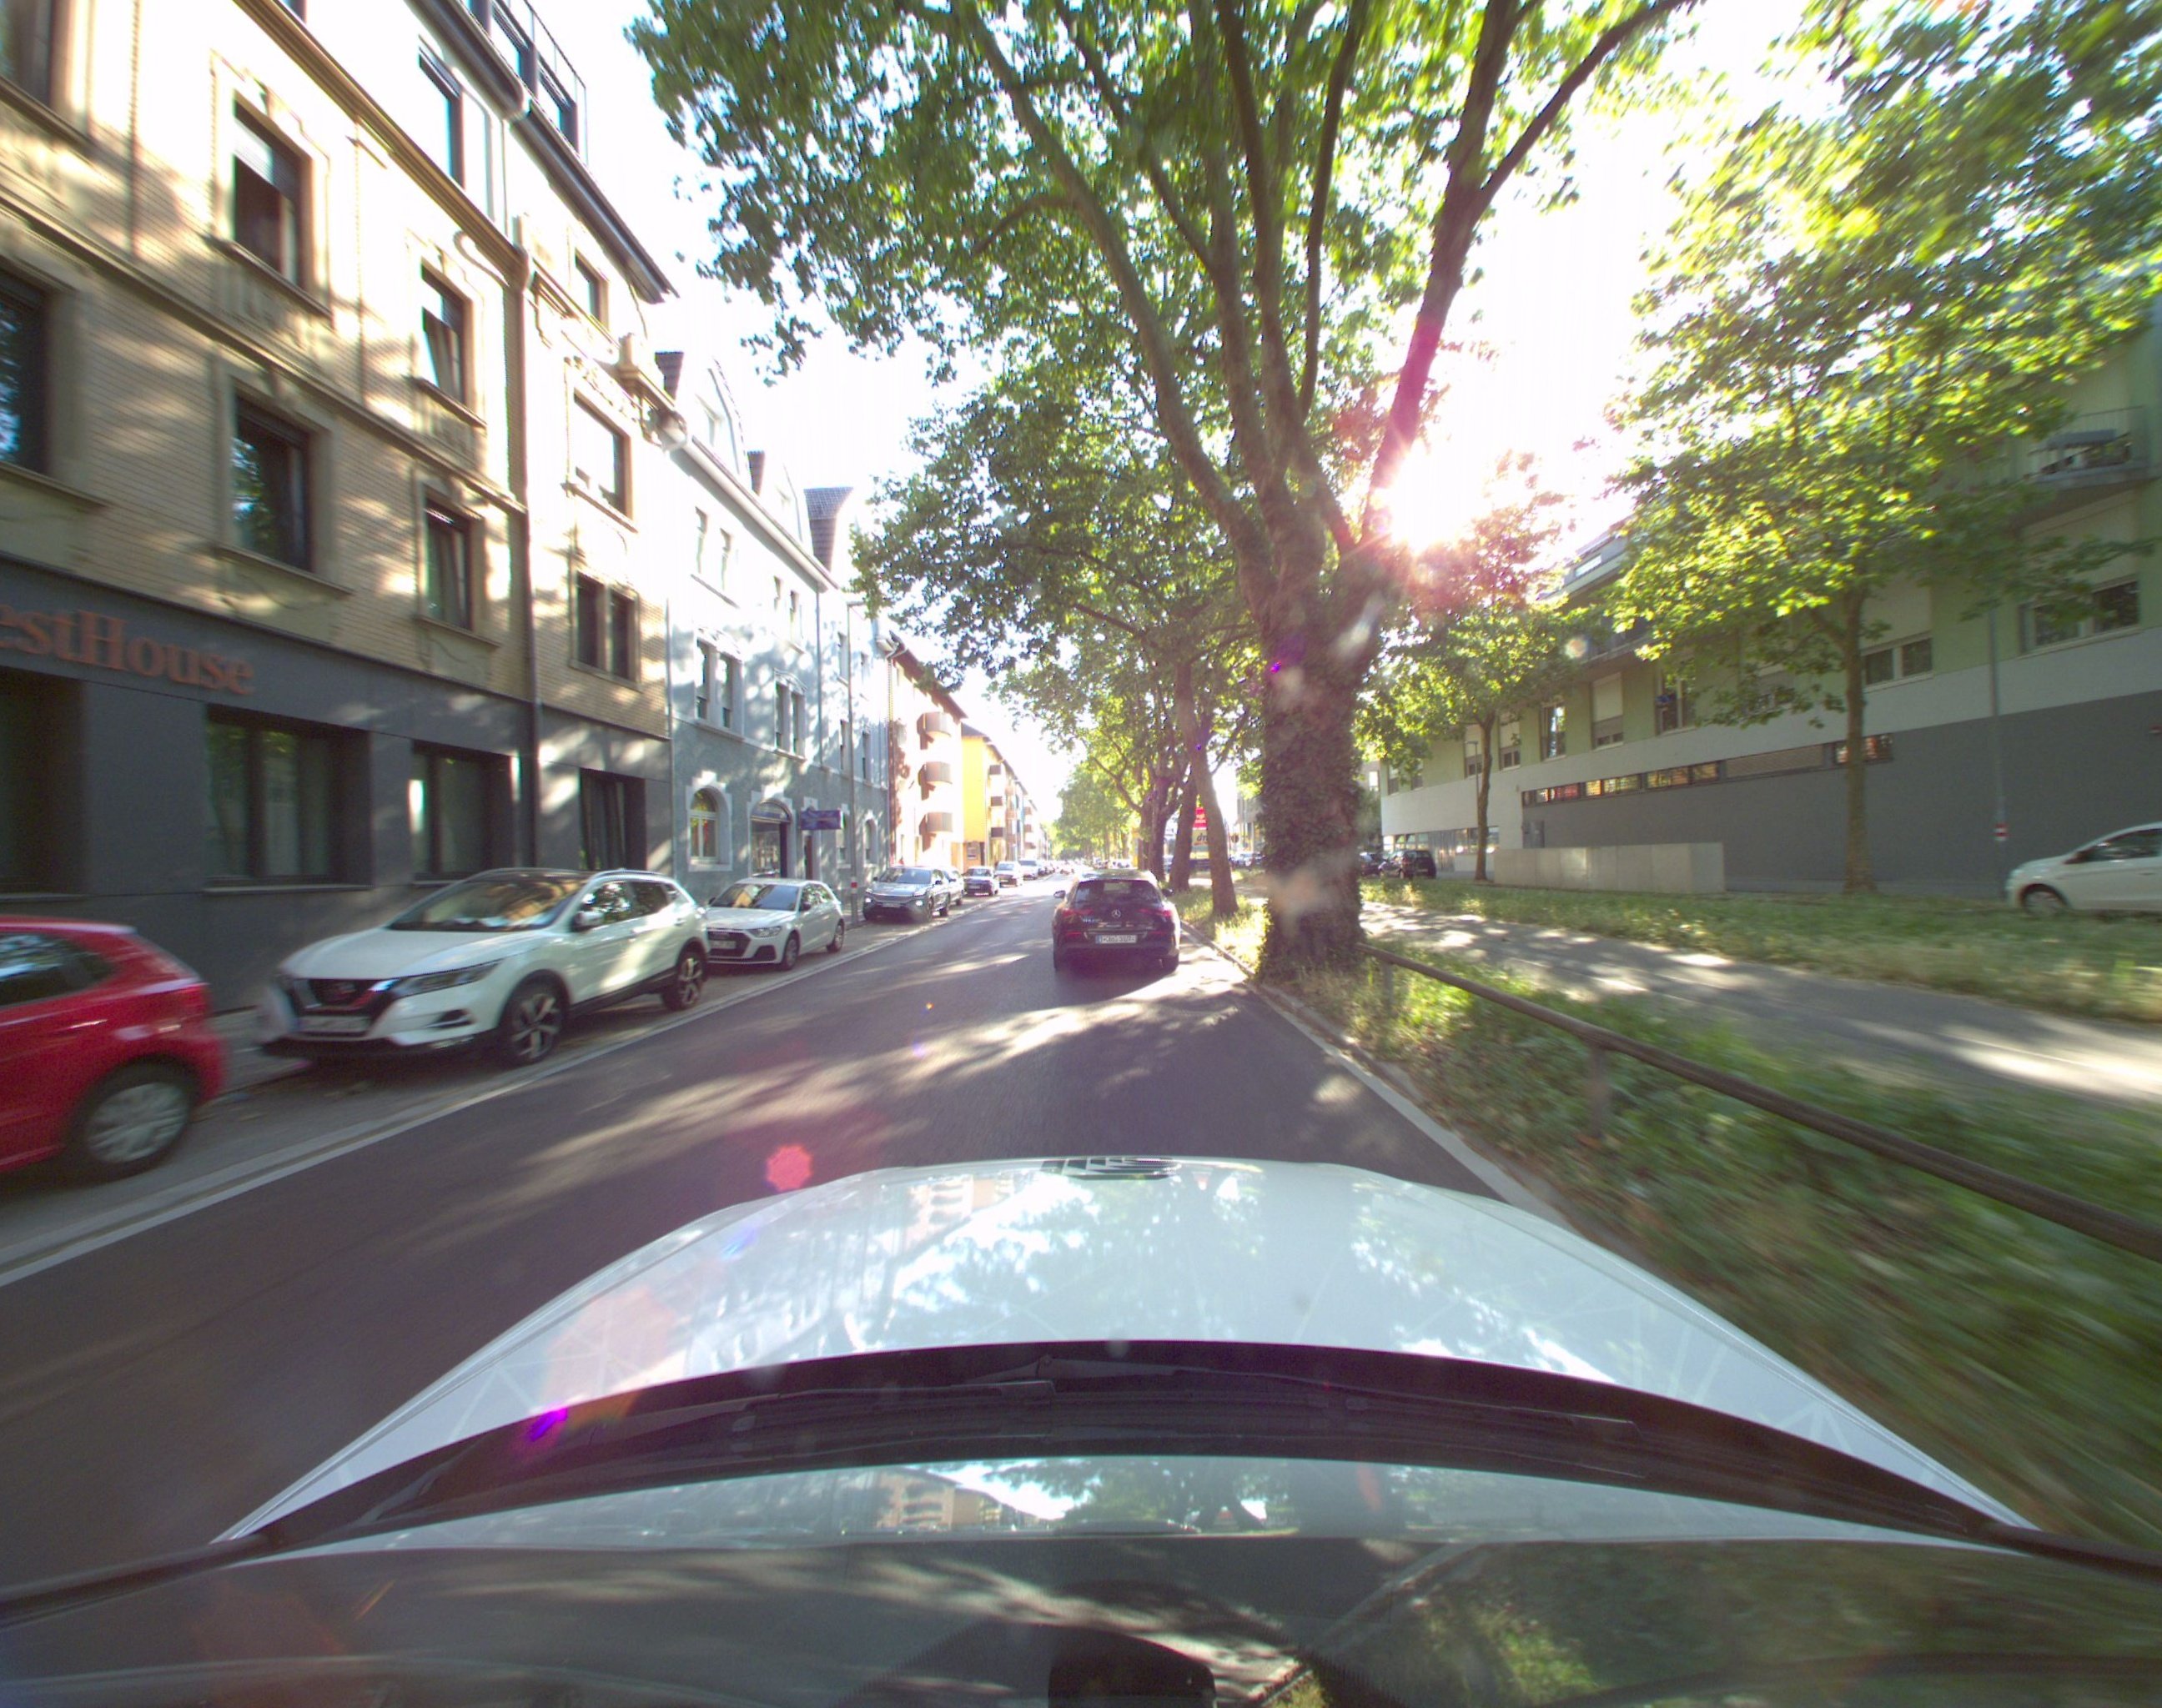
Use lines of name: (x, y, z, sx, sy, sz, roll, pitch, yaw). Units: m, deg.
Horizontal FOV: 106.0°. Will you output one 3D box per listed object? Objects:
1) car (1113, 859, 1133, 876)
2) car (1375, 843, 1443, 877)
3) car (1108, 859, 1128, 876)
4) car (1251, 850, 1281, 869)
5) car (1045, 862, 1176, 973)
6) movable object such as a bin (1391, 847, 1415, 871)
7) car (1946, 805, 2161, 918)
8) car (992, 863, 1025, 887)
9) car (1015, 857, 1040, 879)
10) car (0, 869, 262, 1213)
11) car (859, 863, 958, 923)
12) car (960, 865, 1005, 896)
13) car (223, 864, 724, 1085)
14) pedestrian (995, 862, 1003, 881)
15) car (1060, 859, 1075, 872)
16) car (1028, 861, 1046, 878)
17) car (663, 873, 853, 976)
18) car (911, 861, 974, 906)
car: (4.003, 1.280, 78.240, 1.630, 1.468, 4.018, -3, -1, -1)
car: (16.051, 0.297, 40.057, 1.852, 1.553, 3.760, -2, 0, 1)
car: (3.831, 1.395, 85.069, 1.804, 1.539, 4.583, -4, -1, 1)
car: (18.301, 0.539, 80.796, 1.979, 1.733, 4.181, -2, 0, 1)
car: (0.589, 0.852, 12.766, 1.735, 1.443, 3.975, 0, 0, 6)
movable object such as a bin: (20.697, 0.306, 52.329, 1.185, 1.463, 1.412, -2, -1, 12)
car: (15.705, 0.076, 11.760, 1.852, 1.543, 4.320, -2, 0, 1)
car: (-4.772, 1.348, 53.927, 1.671, 1.524, 4.022, 0, 0, 2)
car: (-4.795, 1.274, 74.127, 1.727, 1.907, 5.211, -1, 0, 2)
car: (-5.911, 0.879, 3.109, 1.671, 1.592, 3.758, 0, 0, 2)
car: (-5.106, 1.101, 24.778, 1.901, 1.641, 4.579, 0, 0, 2)
car: (-4.873, 1.291, 40.690, 1.671, 1.486, 3.602, 0, 0, 2)
car: (-5.336, 0.900, 8.022, 1.671, 1.585, 4.201, 0, 0, 2)
pedestrian: (-7.639, 1.635, 75.620, 0.585, 1.790, 0.642, -2, -1, 1)
car: (-1.655, 1.368, 101.575, 1.765, 1.478, 4.322, -3, 0, 1)
car: (-4.692, 1.604, 87.102, 1.740, 1.787, 4.546, 0, 0, -1)
car: (-5.427, 1.112, 14.250, 1.671, 1.496, 3.873, 0, 0, 2)
car: (-5.391, 1.102, 32.079, 1.671, 1.641, 3.986, 0, 0, 2)
